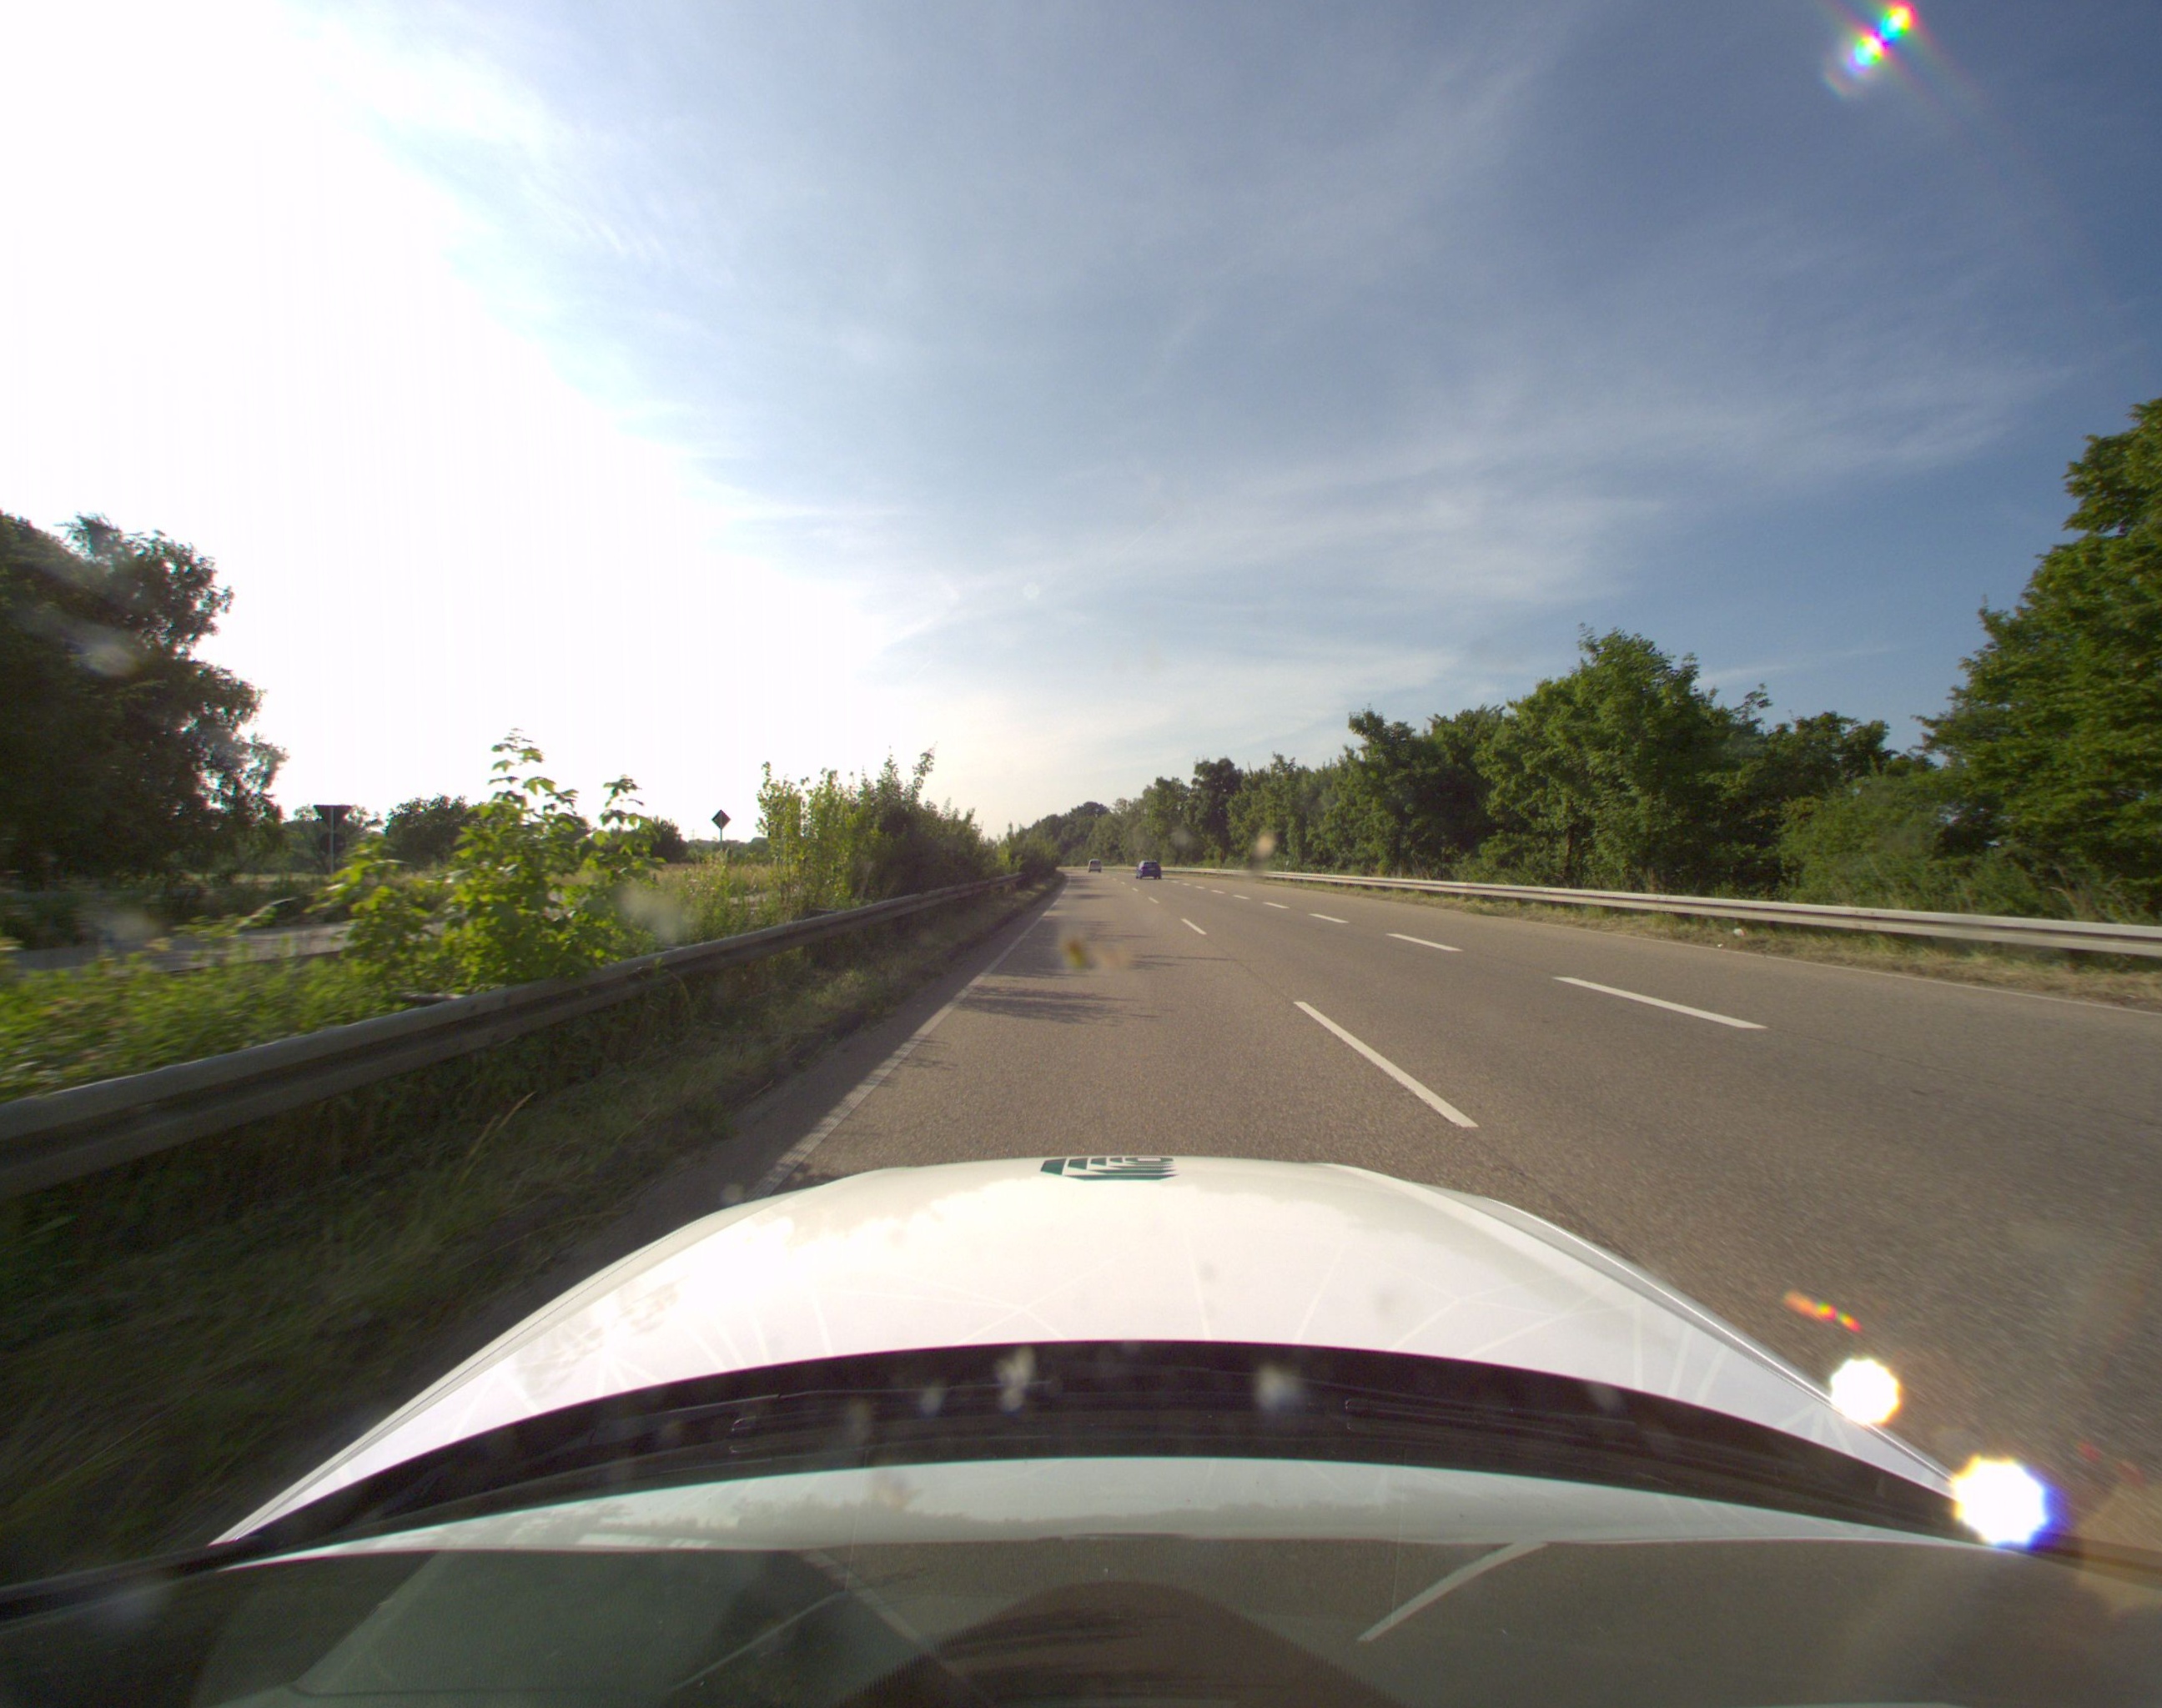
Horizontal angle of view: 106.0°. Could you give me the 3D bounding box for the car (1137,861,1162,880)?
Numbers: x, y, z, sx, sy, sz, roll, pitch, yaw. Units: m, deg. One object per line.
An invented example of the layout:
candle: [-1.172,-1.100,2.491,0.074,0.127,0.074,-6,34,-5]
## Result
car: [5.508,1.348,65.840,1.773,1.452,4.000,-1,-1,1]

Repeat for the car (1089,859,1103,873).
car: [2.127,1.610,113.767,1.761,1.882,3.997,-1,0,-2]
